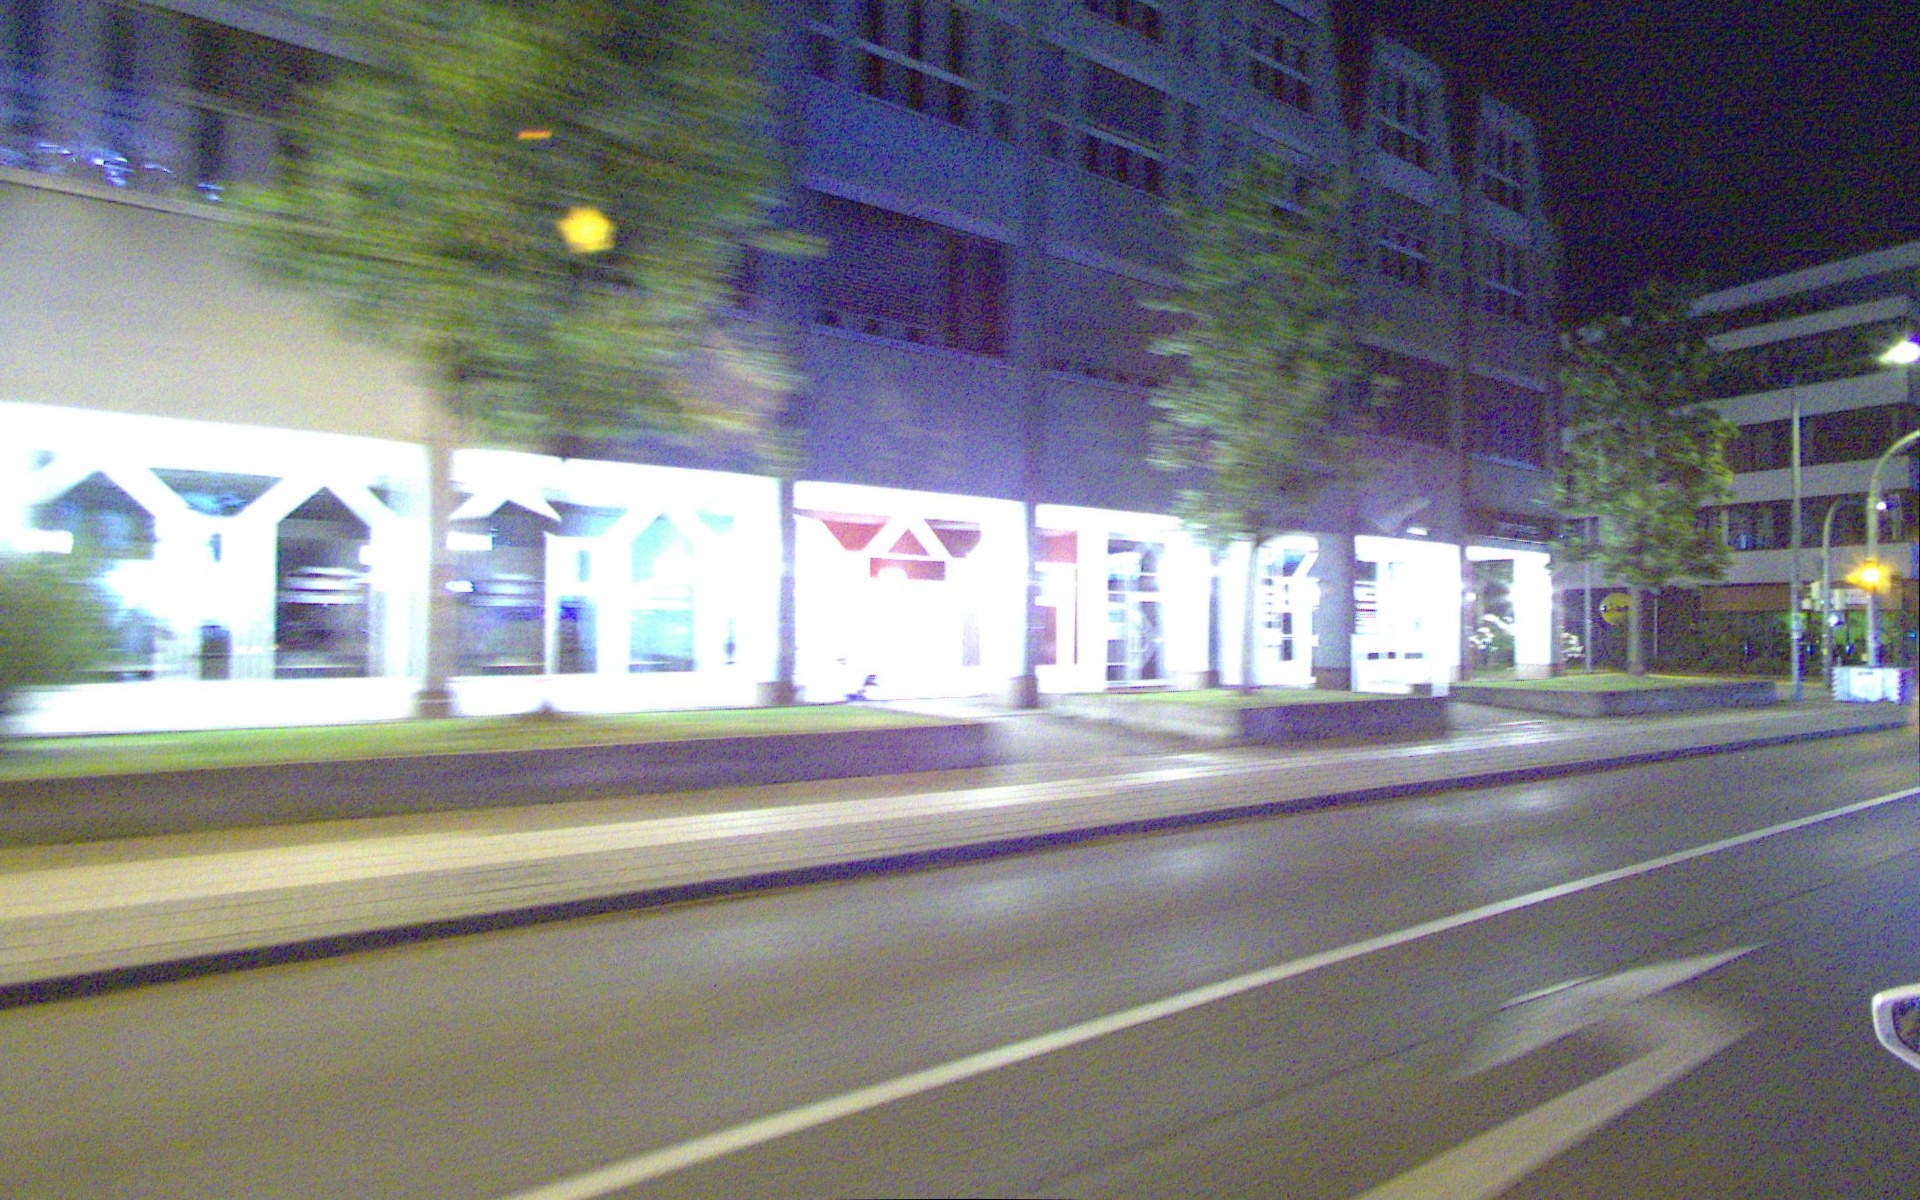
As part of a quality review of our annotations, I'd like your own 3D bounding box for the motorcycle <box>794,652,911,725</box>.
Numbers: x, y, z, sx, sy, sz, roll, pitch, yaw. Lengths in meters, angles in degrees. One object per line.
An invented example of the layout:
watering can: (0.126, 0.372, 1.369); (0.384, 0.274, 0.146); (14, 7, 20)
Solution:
motorcycle: (-1.582, 1.286, 14.824); (1.651, 1.034, 0.477); (1, -1, -24)
